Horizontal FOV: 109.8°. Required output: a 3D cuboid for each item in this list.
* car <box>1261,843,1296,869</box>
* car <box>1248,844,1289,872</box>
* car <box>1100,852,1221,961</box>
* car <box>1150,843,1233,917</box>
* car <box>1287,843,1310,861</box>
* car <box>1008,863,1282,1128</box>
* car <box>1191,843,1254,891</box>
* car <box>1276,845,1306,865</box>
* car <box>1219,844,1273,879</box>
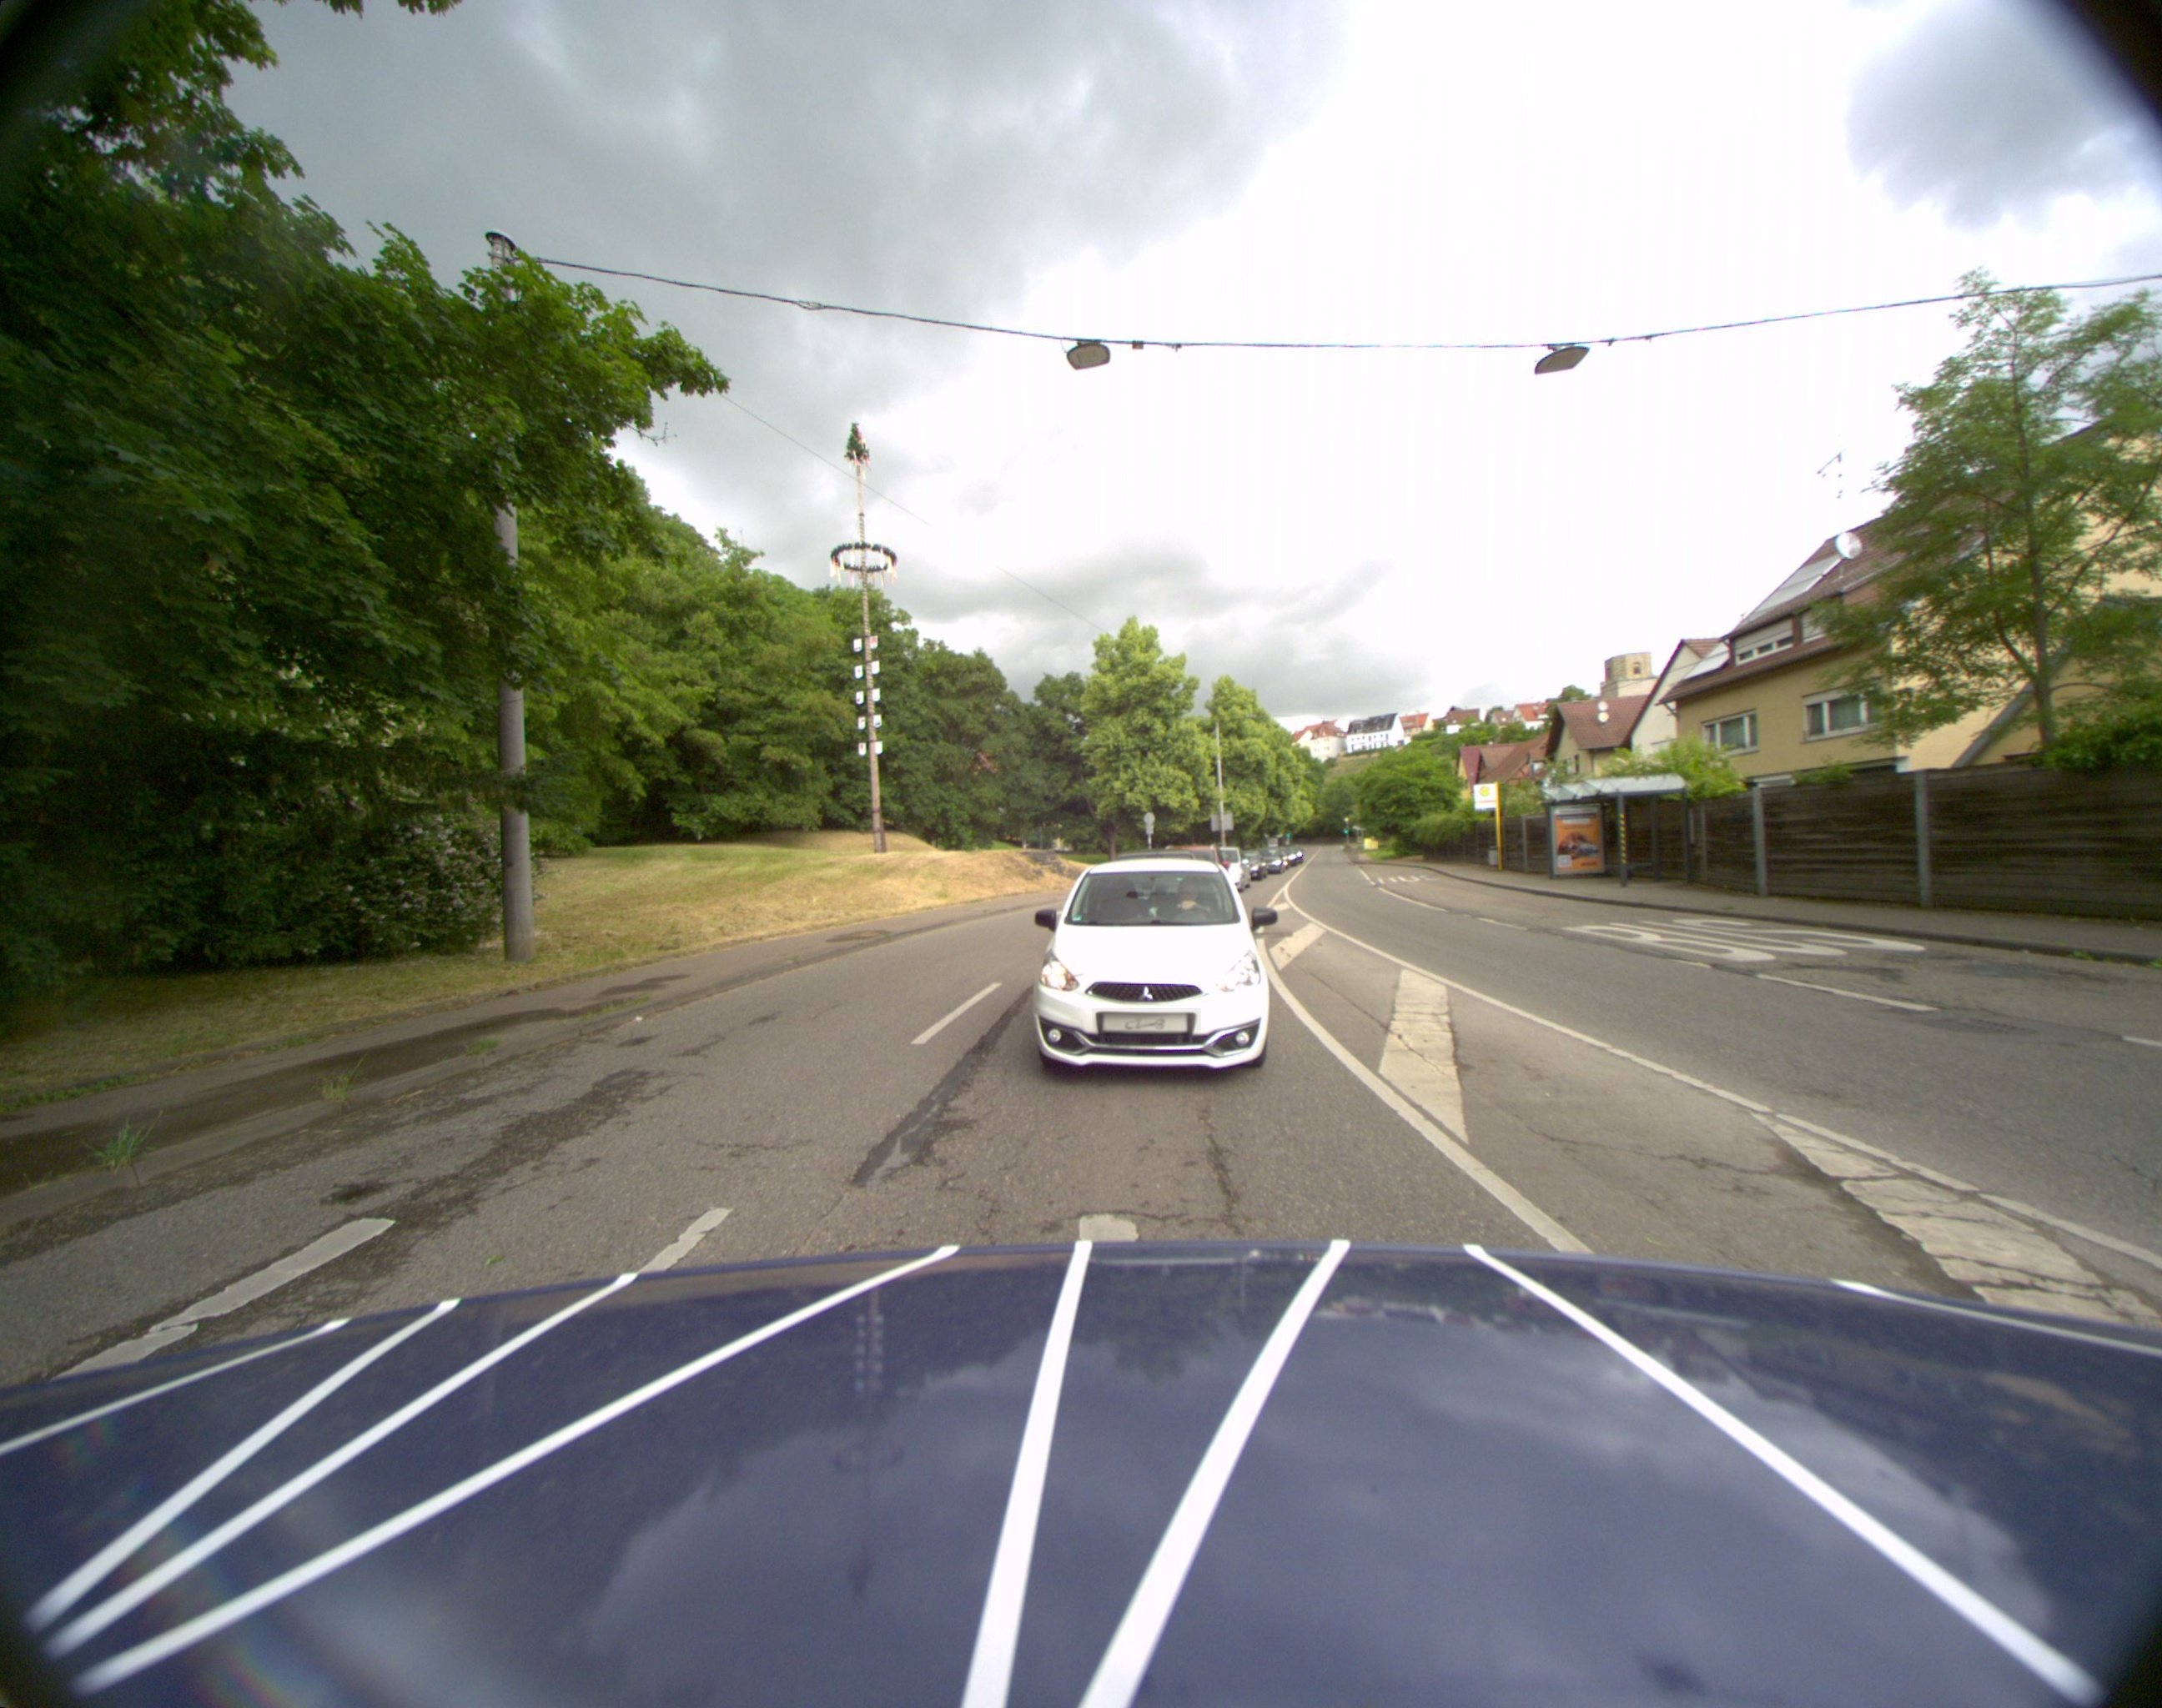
[{"bbox_3d":[12.508,0.098,47.979,1.704,1.438,3.872,-2,1,21],"label":"car"},{"bbox_3d":[10.354,0.187,41.780,1.694,1.403,3.987,-2,1,21],"label":"car"},{"bbox_3d":[1.446,0.777,13.209,1.729,1.512,4.002,-2,1,8],"label":"car"},{"bbox_3d":[2.930,0.578,19.460,1.673,1.632,4.104,-2,1,13],"label":"car"},{"bbox_3d":[17.037,-0.172,59.505,1.417,1.242,3.300,-2,1,21],"label":"car"},{"bbox_3d":[0.614,0.906,6.656,1.627,1.499,4.001,-2,1,7],"label":"car"},{"bbox_3d":[5.168,0.413,27.346,1.781,1.560,4.004,-2,1,16],"label":"car"},{"bbox_3d":[14.781,0.030,53.486,1.642,1.262,3.630,-2,1,21],"label":"car"},{"bbox_3d":[7.800,0.326,35.643,1.851,1.449,4.005,-2,1,21],"label":"car"}]
